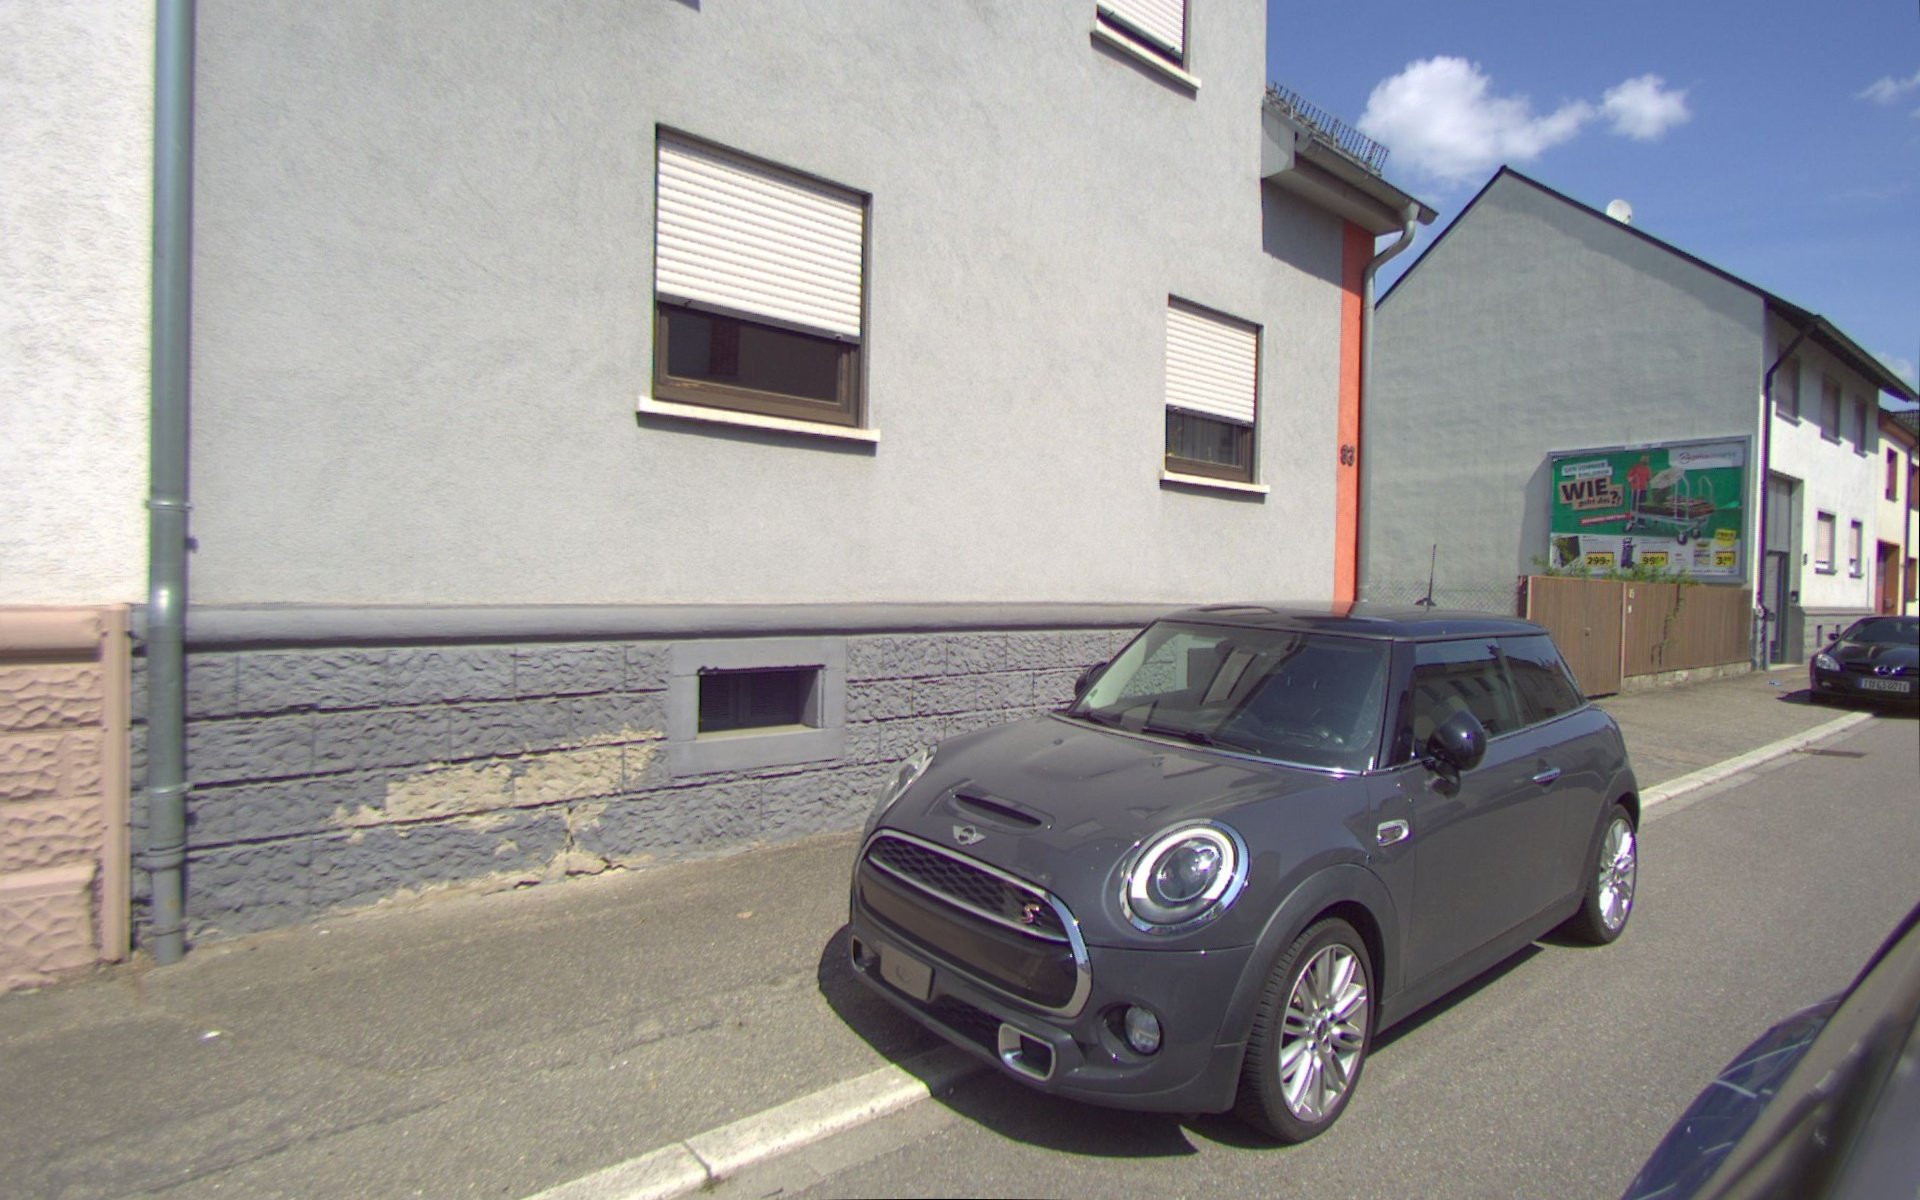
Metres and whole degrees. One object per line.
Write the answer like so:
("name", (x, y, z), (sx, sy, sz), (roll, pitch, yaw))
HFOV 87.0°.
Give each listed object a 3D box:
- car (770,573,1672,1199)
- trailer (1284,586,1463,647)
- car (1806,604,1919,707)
("car", (1.258, 0.648, 4.014), (3.592, 1.440, 1.692), (0, 2, -40))
("trailer", (9.716, 0.349, 23.972), (1.911, 1.274, 3.467), (0, 1, -31))
("car", (13.906, 0.740, 14.658), (4.072, 1.291, 1.820), (0, 1, -40))
